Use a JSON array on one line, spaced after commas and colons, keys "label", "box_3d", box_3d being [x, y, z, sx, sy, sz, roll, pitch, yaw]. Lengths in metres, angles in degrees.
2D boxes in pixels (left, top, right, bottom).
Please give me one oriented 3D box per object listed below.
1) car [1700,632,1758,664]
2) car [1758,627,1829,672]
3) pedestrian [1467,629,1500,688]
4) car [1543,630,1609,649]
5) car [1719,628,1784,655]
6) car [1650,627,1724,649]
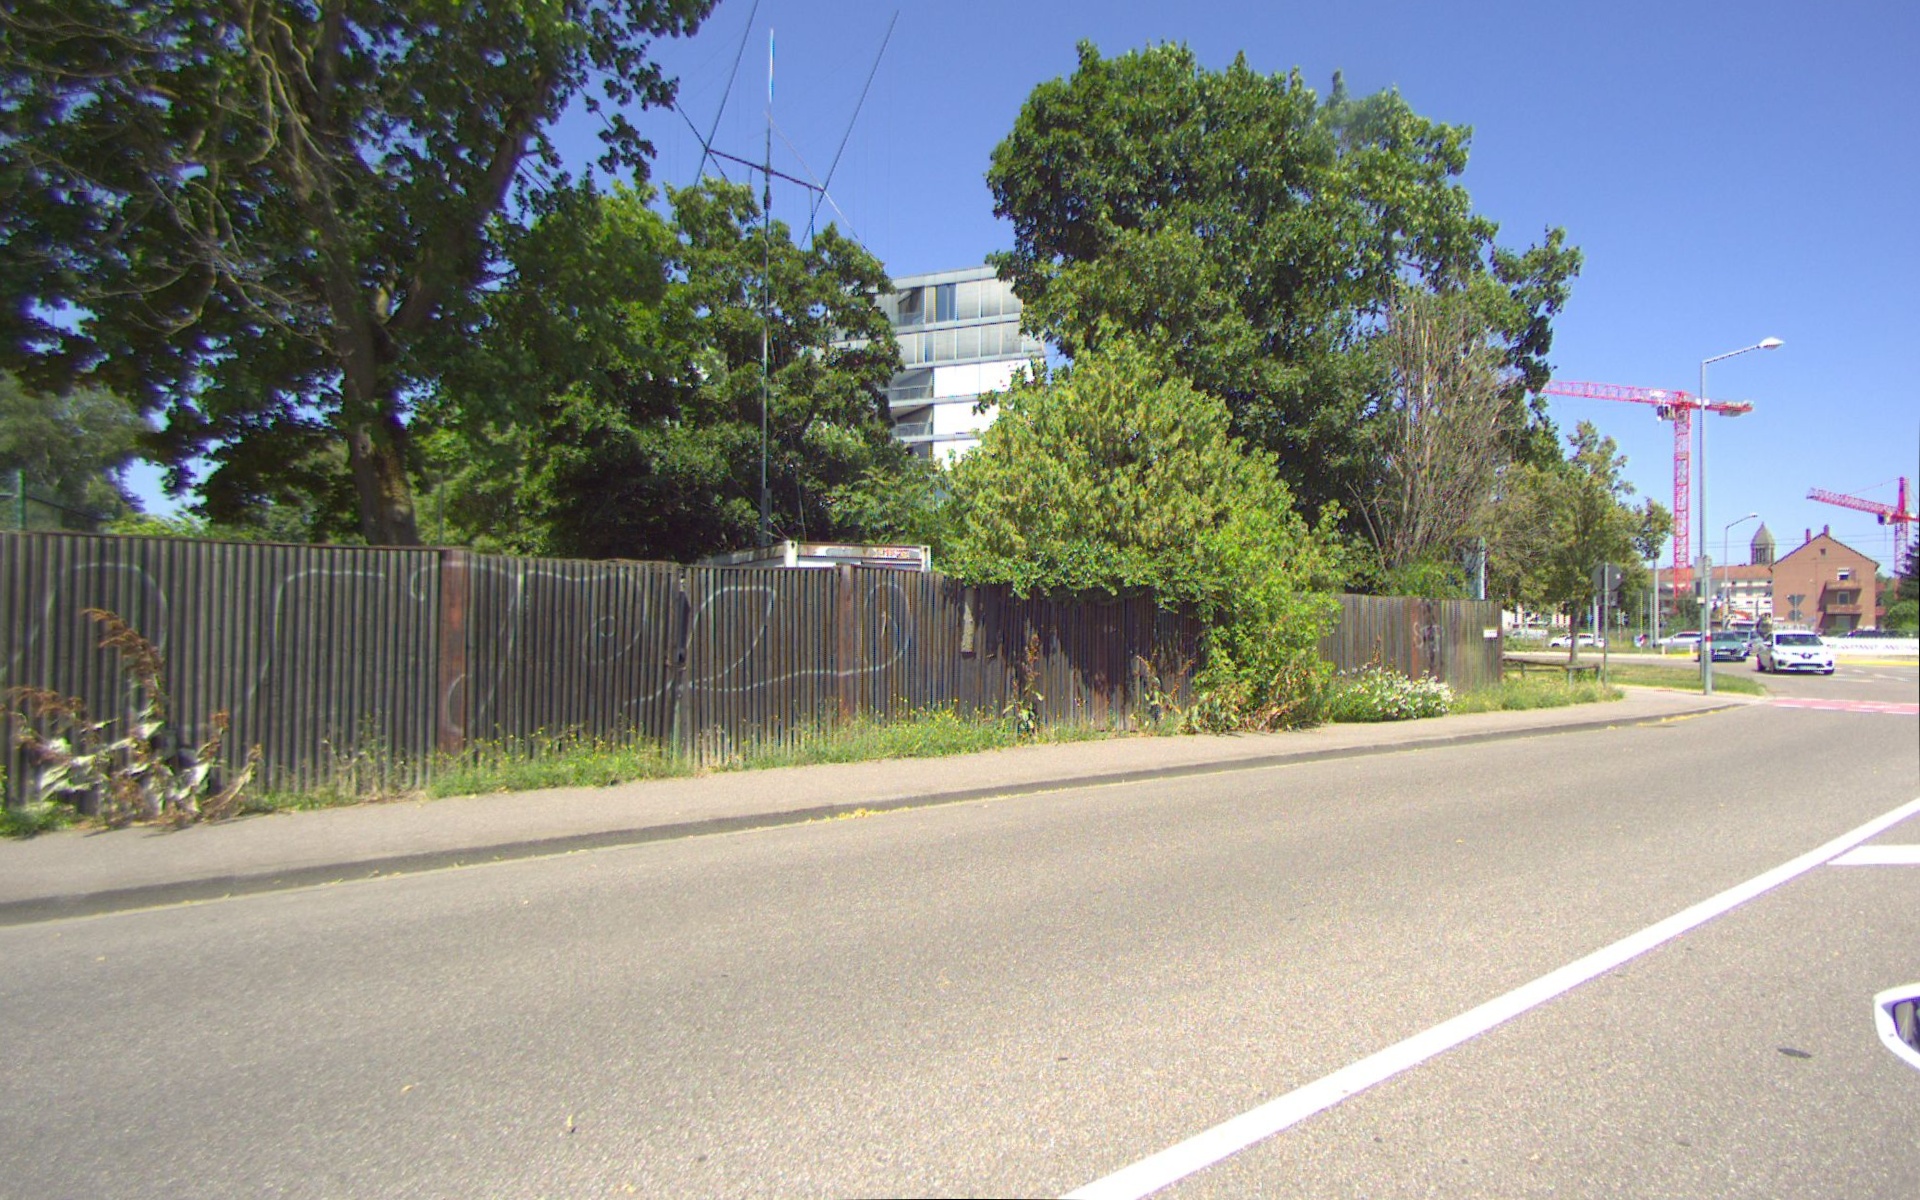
[{"label": "car", "box_3d": [37.831, 2.330, 49.367, 1.729, 1.390, 4.304, 2, 0, 45]}, {"label": "car", "box_3d": [30.663, 1.794, 37.052, 1.752, 1.547, 3.859, -1, -2, 36]}, {"label": "pedestrian", "box_3d": [16.660, 1.833, 31.978, 0.625, 1.810, 0.970, 2, 0, 11]}, {"label": "car", "box_3d": [50.784, 3.220, 82.845, 1.736, 1.390, 4.286, 2, 0, -36]}, {"label": "car", "box_3d": [45.570, 2.383, 57.798, 4.227, 1.421, 1.716, 2, 0, -34]}, {"label": "car", "box_3d": [53.758, 2.783, 74.271, 4.269, 1.390, 1.743, 1, 0, 42]}]
